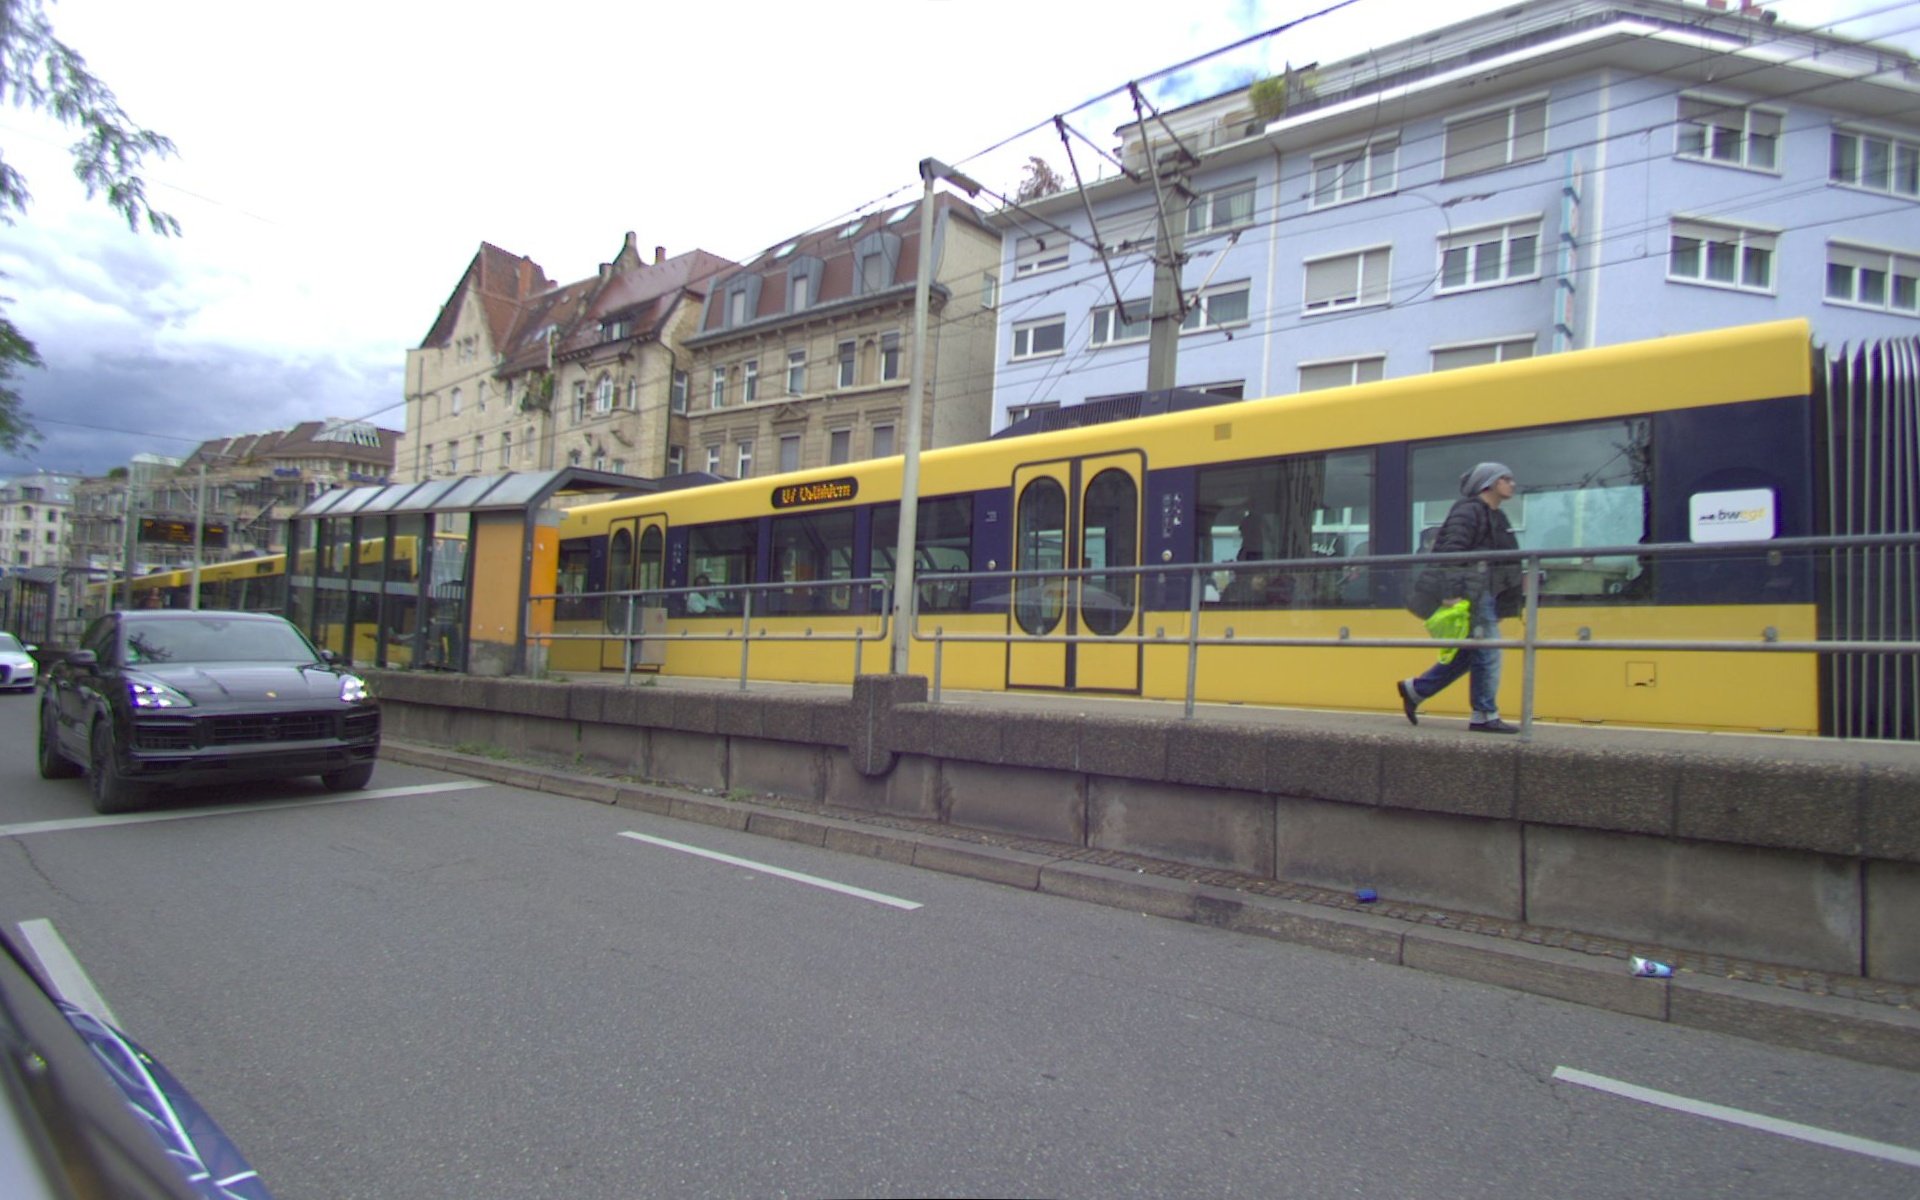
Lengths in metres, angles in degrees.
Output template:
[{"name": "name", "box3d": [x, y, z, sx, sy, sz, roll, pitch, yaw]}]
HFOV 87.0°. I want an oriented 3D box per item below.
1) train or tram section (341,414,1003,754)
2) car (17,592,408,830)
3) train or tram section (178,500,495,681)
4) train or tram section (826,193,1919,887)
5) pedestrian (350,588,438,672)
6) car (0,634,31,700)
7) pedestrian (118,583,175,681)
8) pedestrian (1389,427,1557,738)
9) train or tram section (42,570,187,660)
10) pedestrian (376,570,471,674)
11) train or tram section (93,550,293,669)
[{"name": "train or tram section", "box3d": [-5.793, 0.334, 16.575, 14.218, 3.692, 2.852, -4, -9, 40]}, {"name": "car", "box3d": [-7.233, 0.893, 9.586, 4.780, 1.698, 2.006, -2, -4, 42]}, {"name": "train or tram section", "box3d": [-16.501, 0.014, 25.889, 14.224, 3.586, 2.892, -2, -3, 42]}, {"name": "train or tram section", "box3d": [4.918, -0.234, 7.384, 14.219, 3.692, 2.852, -2, -4, 40]}, {"name": "pedestrian", "box3d": [-8.129, 0.446, 14.547, 0.778, 1.151, 0.841, -2, -6, 42]}, {"name": "car", "box3d": [-23.525, 1.544, 23.887, 4.530, 1.486, 1.872, -2, -4, 42]}, {"name": "pedestrian", "box3d": [-19.563, 0.772, 24.347, 0.772, 2.302, 0.827, -2, -5, 41]}, {"name": "pedestrian", "box3d": [2.890, -0.066, 5.698, 0.665, 1.596, 0.770, -2, -5, 41]}, {"name": "train or tram section", "box3d": [-37.659, 0.785, 44.769, 14.224, 3.445, 2.851, -2, -2, 42]}, {"name": "pedestrian", "box3d": [-7.201, 0.313, 13.585, 0.778, 1.316, 0.841, -2, -6, 42]}, {"name": "train or tram section", "box3d": [-27.106, 0.493, 35.296, 14.224, 3.468, 2.851, -2, -2, 42]}]
